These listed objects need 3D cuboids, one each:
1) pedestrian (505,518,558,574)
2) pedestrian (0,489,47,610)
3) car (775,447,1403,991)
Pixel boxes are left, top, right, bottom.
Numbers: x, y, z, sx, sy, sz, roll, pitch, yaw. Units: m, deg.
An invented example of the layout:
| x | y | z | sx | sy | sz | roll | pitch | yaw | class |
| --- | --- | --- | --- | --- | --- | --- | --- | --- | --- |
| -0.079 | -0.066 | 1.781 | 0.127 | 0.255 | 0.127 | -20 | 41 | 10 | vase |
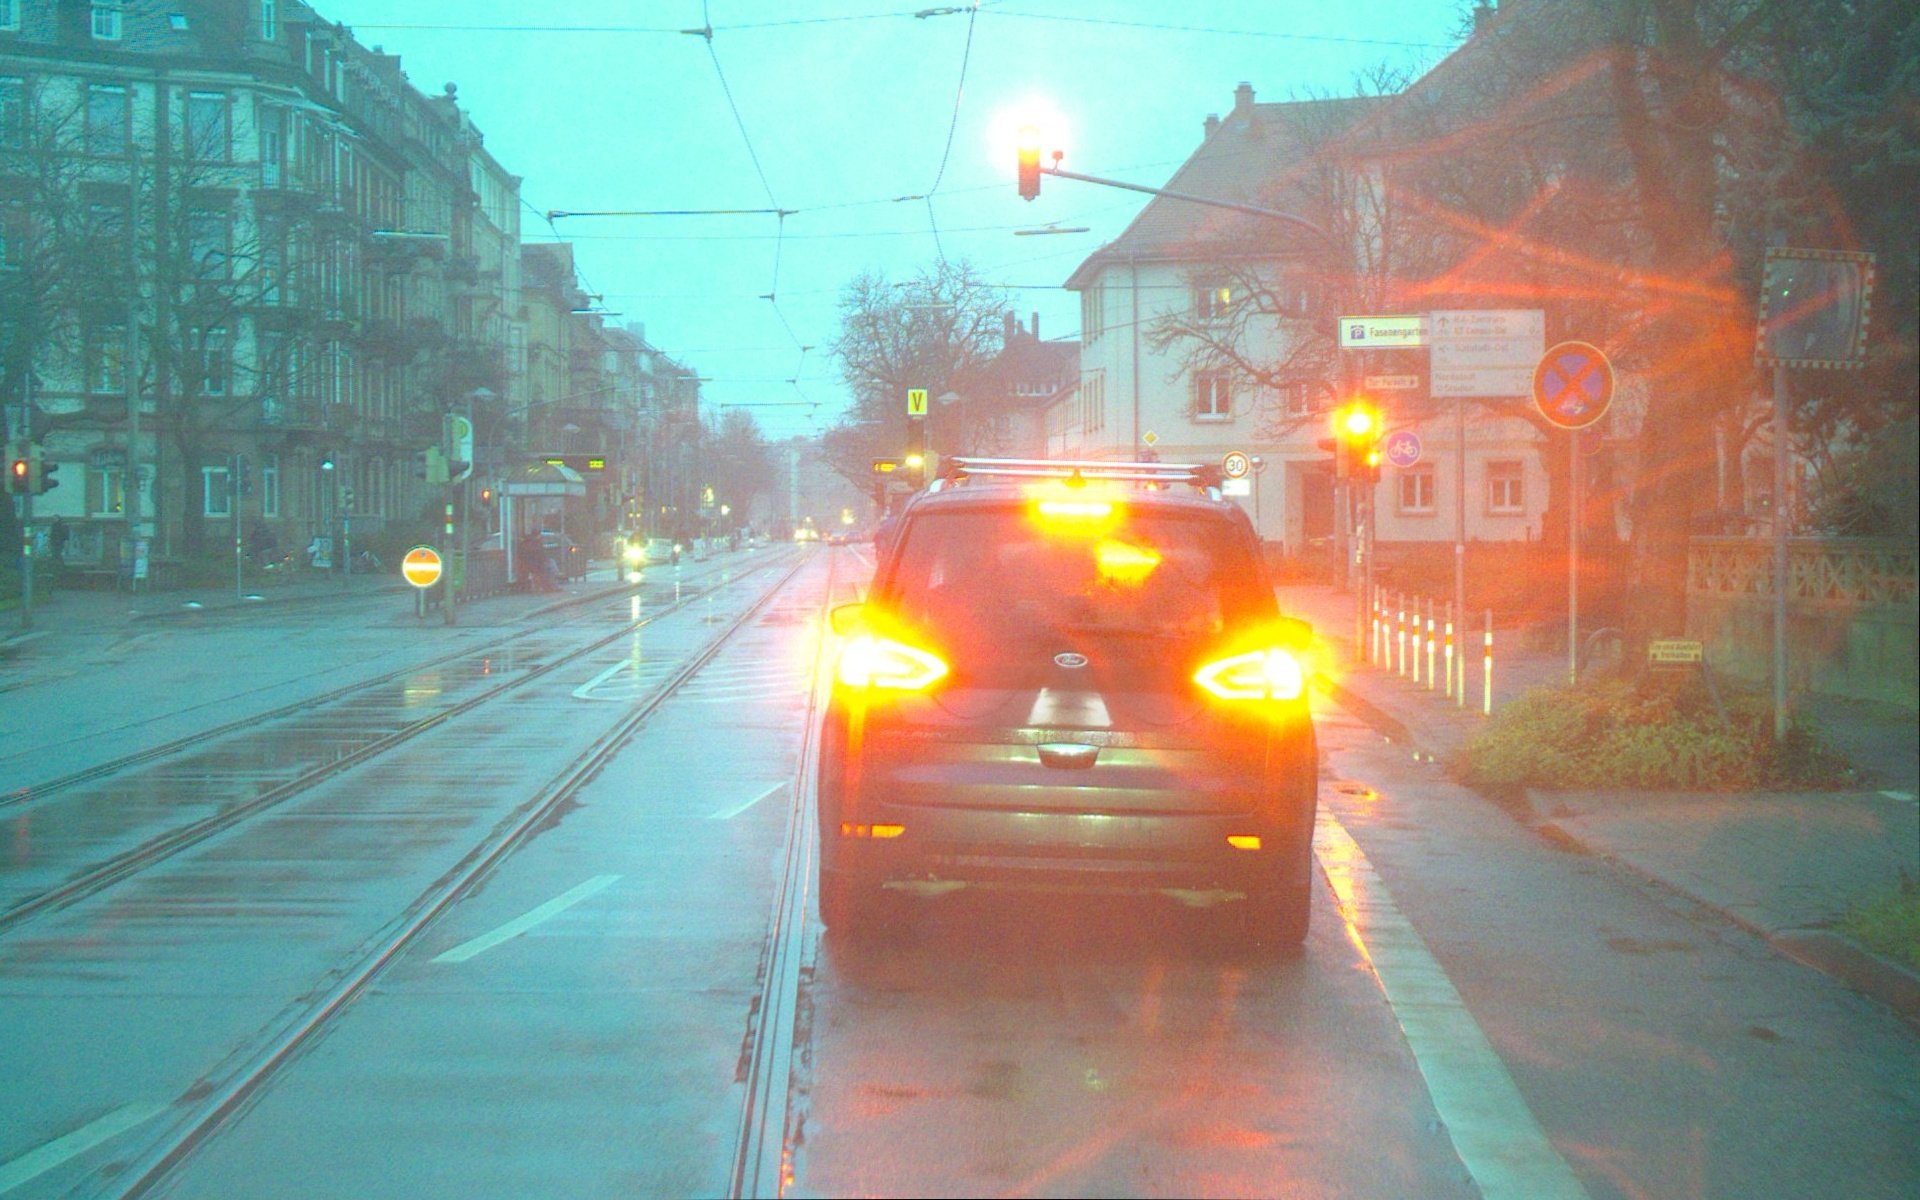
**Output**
| x | y | z | sx | sy | sz | roll | pitch | yaw | class |
| --- | --- | --- | --- | --- | --- | --- | --- | --- | --- |
| -9.401 | -1.184 | 75.491 | 1.047 | 1.196 | 0.885 | 1 | 1 | 0 | pedestrian |
| -15.717 | -0.850 | 57.652 | 0.704 | 2.007 | 0.661 | 0 | 1 | -21 | pedestrian |
| 0.462 | 0.356 | 14.175 | 2.103 | 1.810 | 4.661 | 2 | 1 | 0 | car |
